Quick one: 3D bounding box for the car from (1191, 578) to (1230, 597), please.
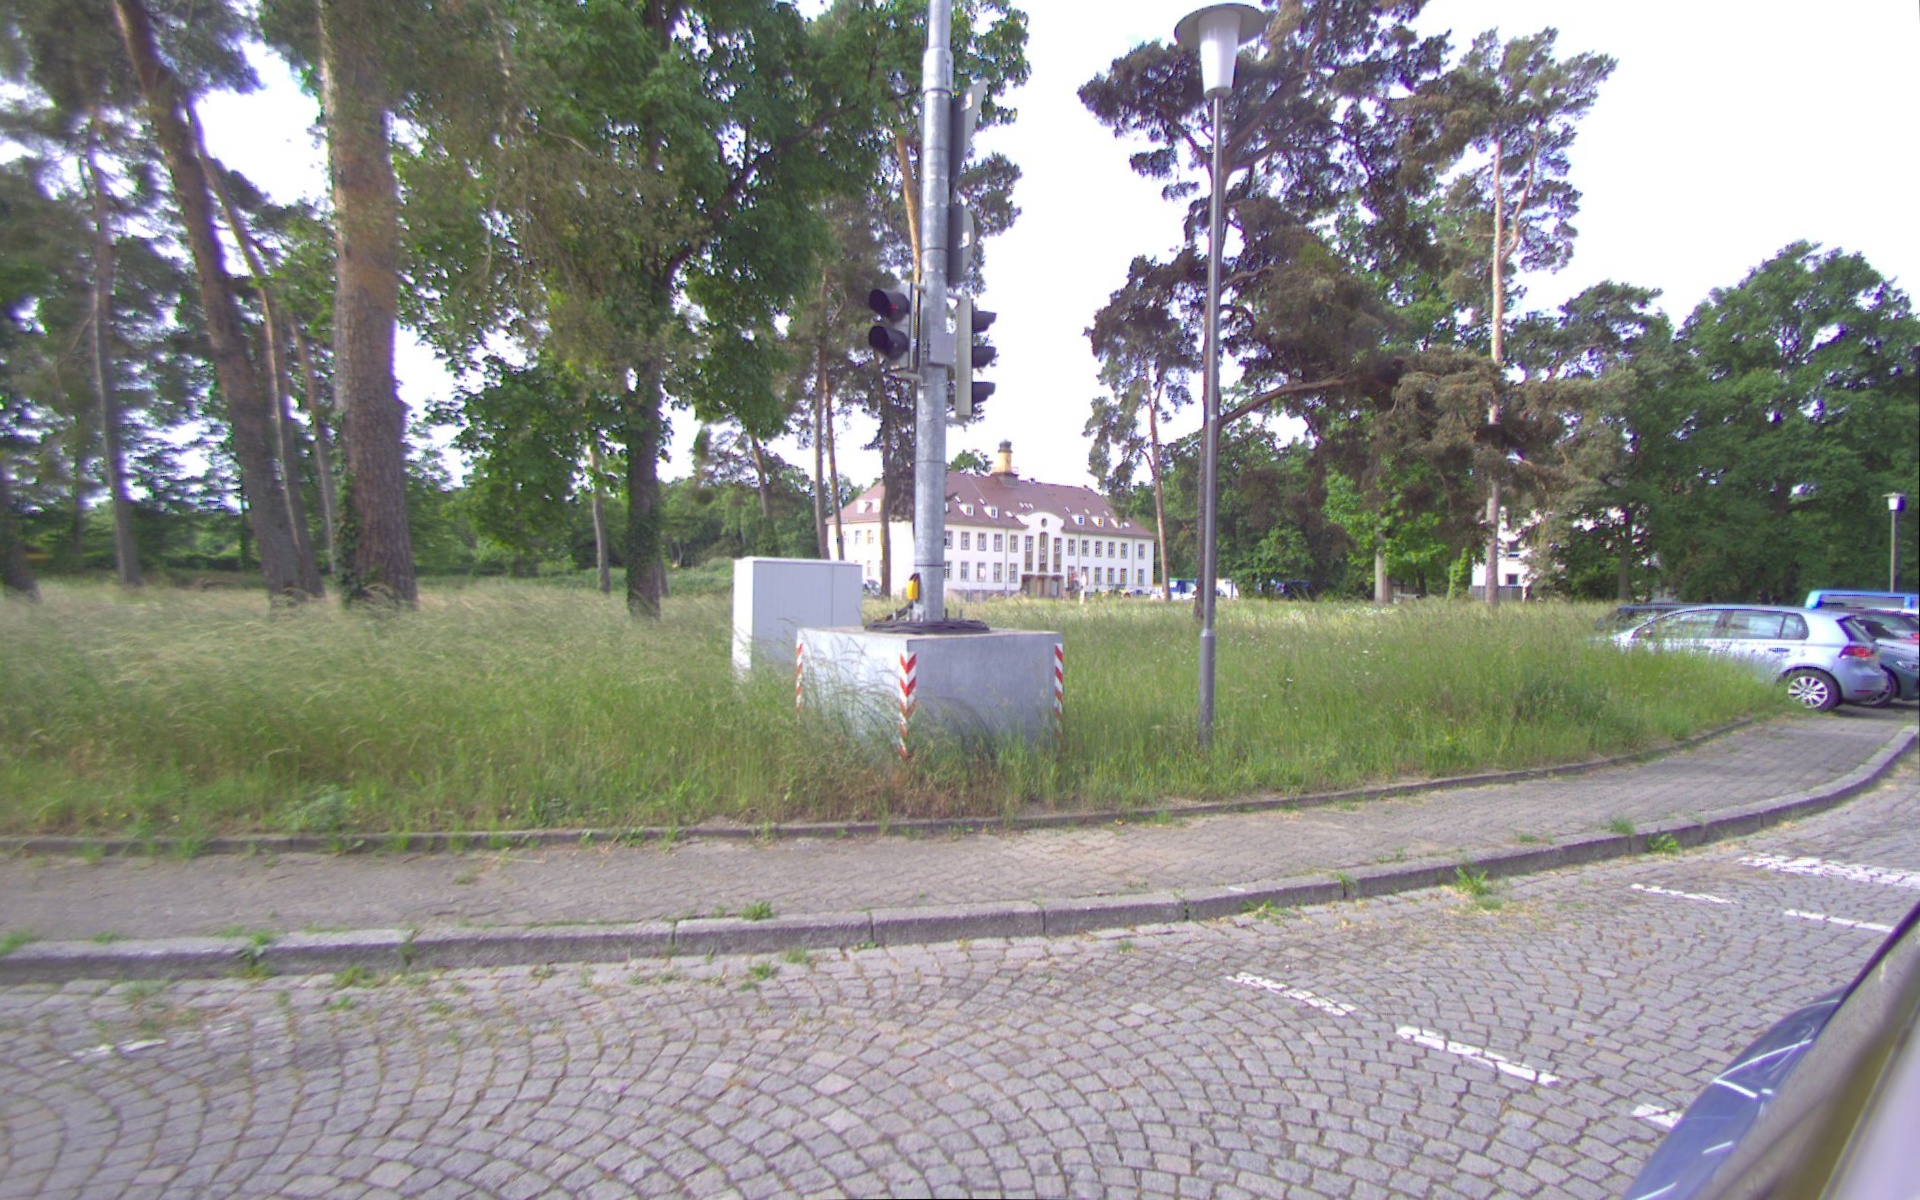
[{"bbox_3d":[28.762,-1.440,116.087,4.753,2.039,2.163,0,1,-43],"label":"car"}]

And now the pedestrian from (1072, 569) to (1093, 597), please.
[{"bbox_3d":[9.796,-1.338,80.897,1.037,2.205,1.183,0,1,-41],"label":"pedestrian"}]

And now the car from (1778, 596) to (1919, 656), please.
[{"bbox_3d":[24.883,0.677,27.434,1.765,1.467,3.931,0,1,-40],"label":"car"}]

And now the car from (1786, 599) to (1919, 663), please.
[{"bbox_3d":[23.047,0.743,24.922,1.765,1.453,3.931,0,1,-40],"label":"car"}]

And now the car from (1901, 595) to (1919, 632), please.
[{"bbox_3d":[42.975,0.636,43.213,1.967,1.589,3.991,0,1,-44],"label":"car"}]

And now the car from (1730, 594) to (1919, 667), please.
[{"bbox_3d":[20.661,0.663,23.657,1.765,1.494,3.932,0,1,-40],"label":"car"}]

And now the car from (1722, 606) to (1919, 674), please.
[{"bbox_3d":[18.973,0.814,21.671,1.765,1.250,3.932,0,1,-40],"label":"car"}]

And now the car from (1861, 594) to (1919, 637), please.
[{"bbox_3d":[35.381,0.585,36.530,1.835,1.523,3.997,0,1,-38],"label":"car"}]

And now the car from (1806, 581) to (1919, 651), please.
[{"bbox_3d":[28.937,0.481,30.563,1.963,2.039,4.843,0,1,-37],"label":"car"}]

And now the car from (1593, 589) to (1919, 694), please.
[{"bbox_3d":[13.414,0.592,16.799,1.765,1.463,4.627,0,1,-40],"label":"car"}]

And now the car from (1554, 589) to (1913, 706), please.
[{"bbox_3d":[11.438,0.602,15.190,1.765,1.436,3.996,0,1,-40],"label":"car"}]

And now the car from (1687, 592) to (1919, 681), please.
[{"bbox_3d":[17.085,0.651,20.126,1.764,1.531,3.933,0,1,-38],"label":"car"}]

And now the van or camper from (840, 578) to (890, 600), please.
[{"bbox_3d":[-10.967,-1.266,116.421,2.424,2.335,6.115,0,1,-43],"label":"van or camper"}]

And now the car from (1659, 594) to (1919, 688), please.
[{"bbox_3d":[15.527,0.679,18.441,1.764,1.463,4.267,0,1,-38],"label":"car"}]
